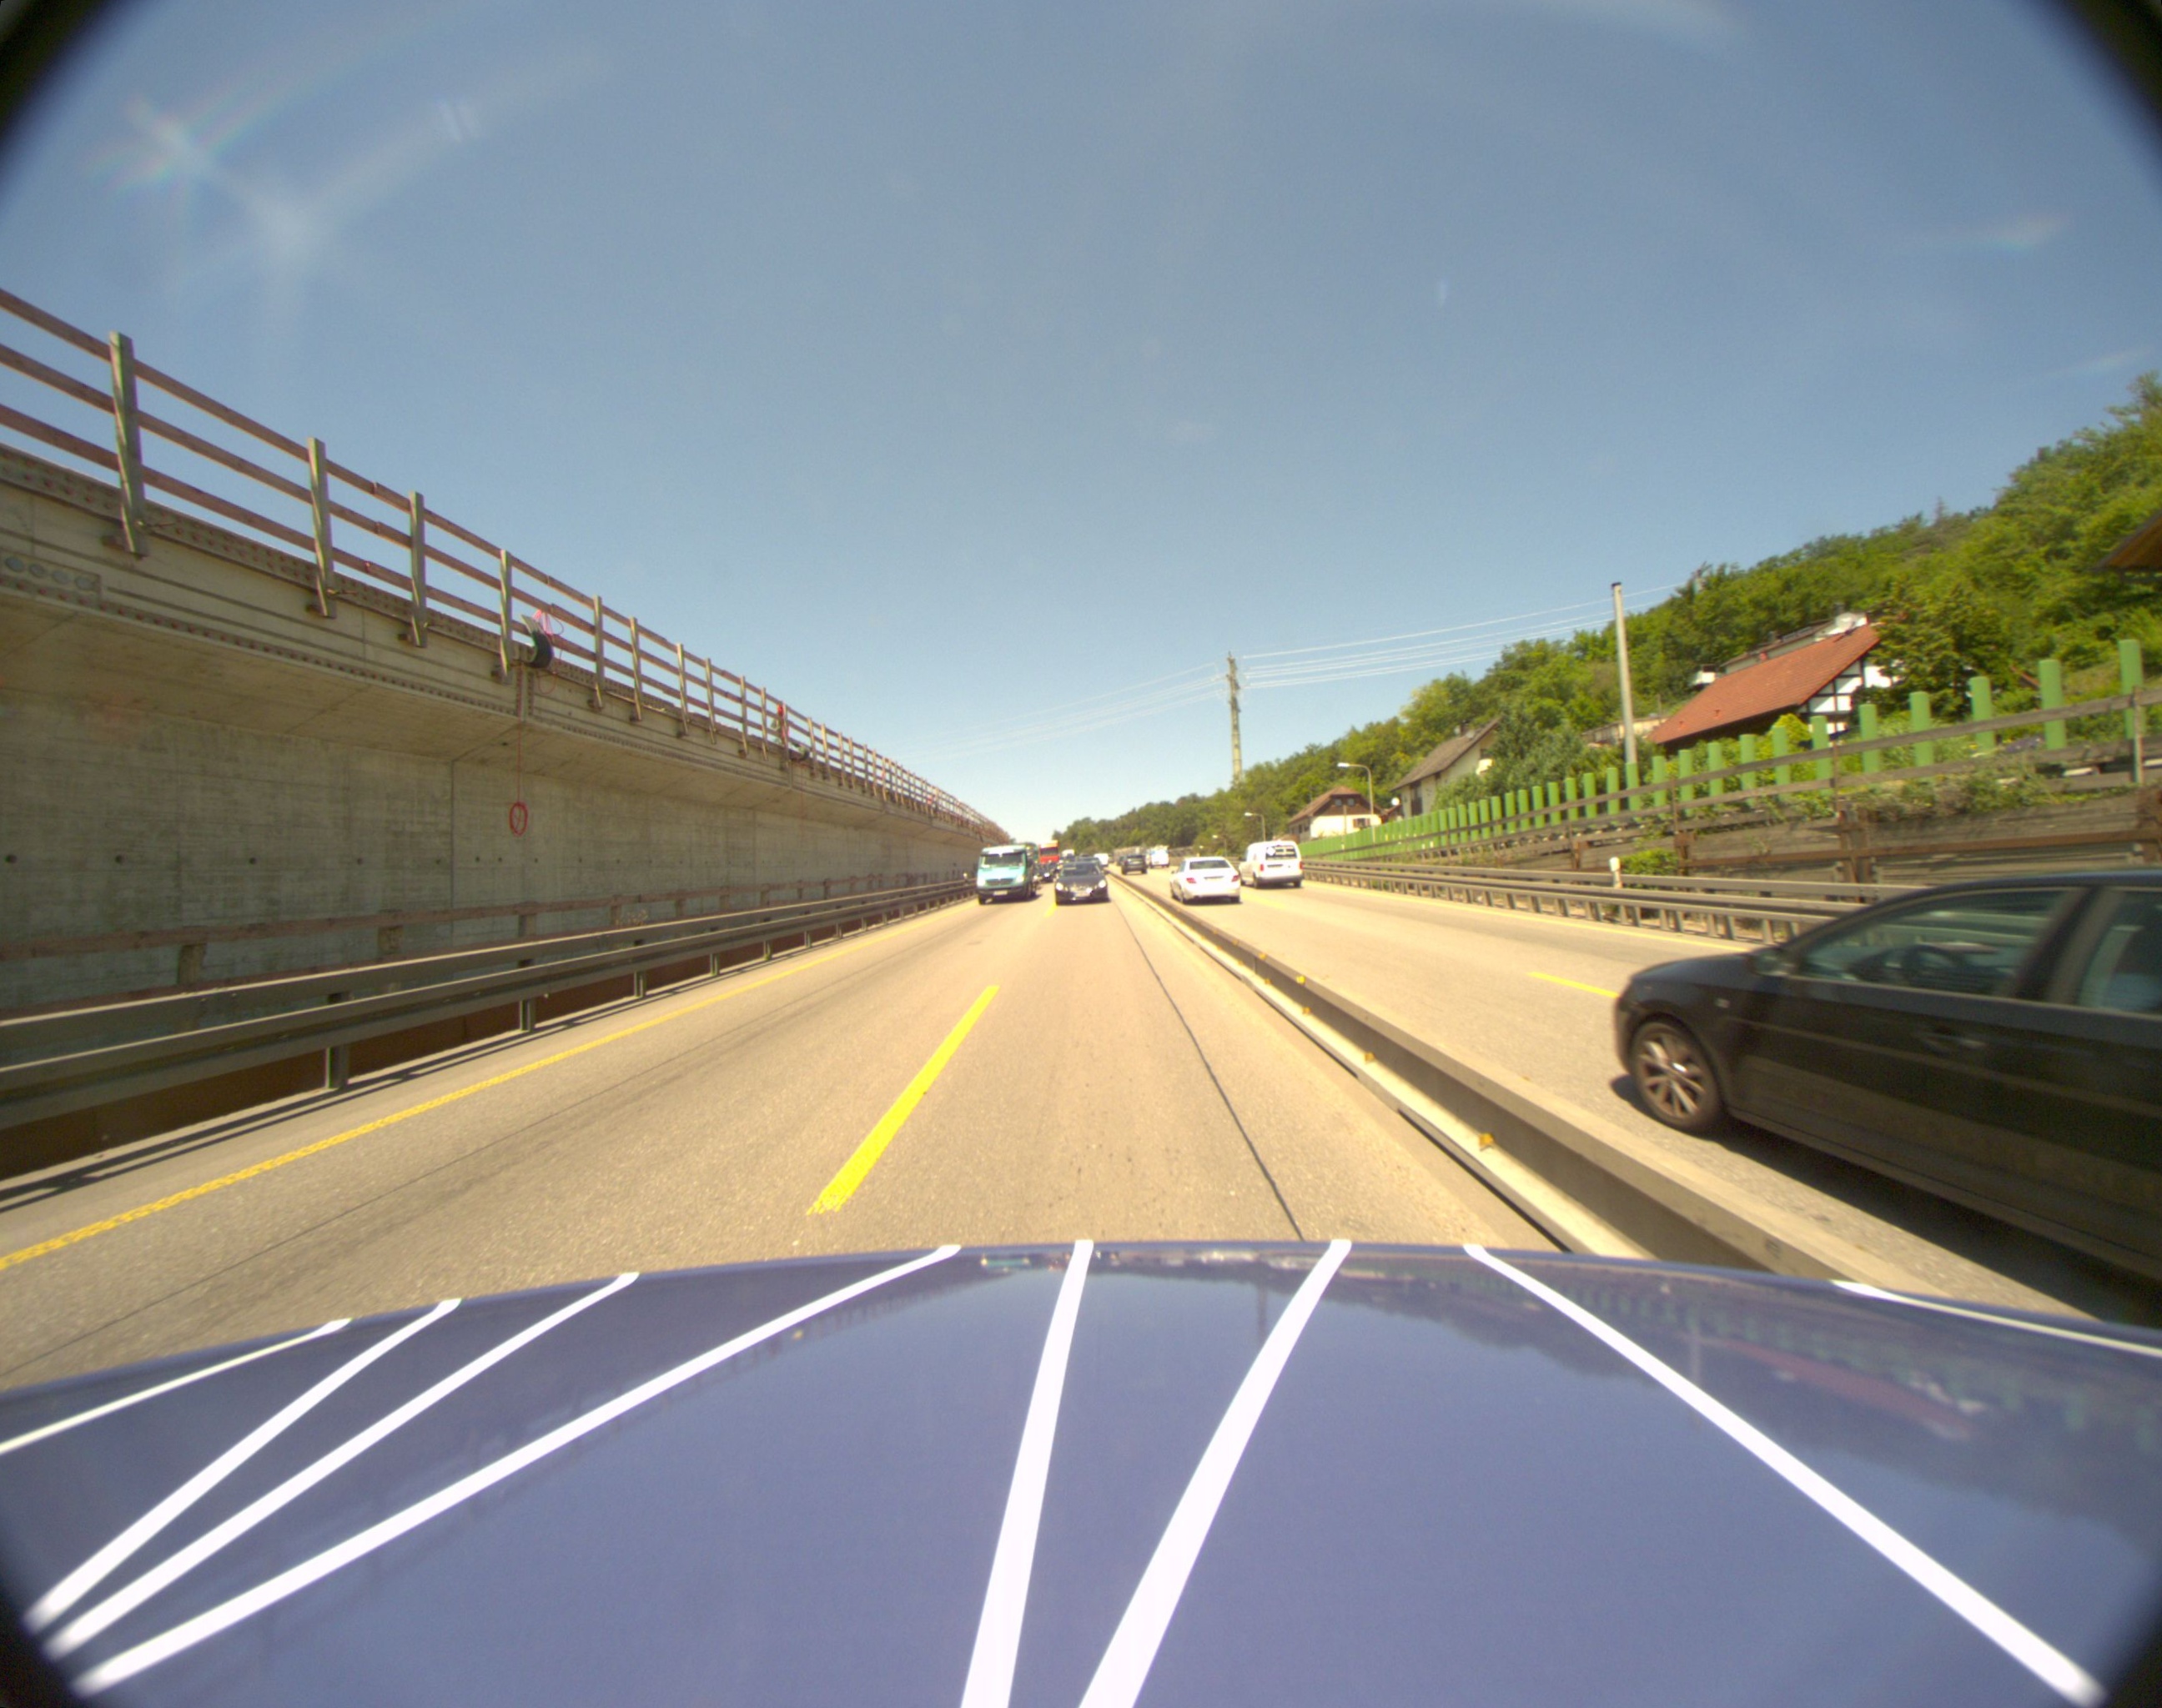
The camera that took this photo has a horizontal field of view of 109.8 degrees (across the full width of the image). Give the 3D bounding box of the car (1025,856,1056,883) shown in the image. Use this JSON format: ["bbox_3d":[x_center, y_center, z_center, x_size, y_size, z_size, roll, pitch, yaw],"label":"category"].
[{"bbox_3d":[-2.818,1.075,53.812,1.859,1.650,3.999,-5,1,0],"label":"car"}]

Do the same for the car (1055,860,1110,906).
[{"bbox_3d":[-0.016,0.990,27.333,1.793,1.440,4.297,-2,0,-2],"label":"car"}]

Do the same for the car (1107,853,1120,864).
[{"bbox_3d":[5.605,0.716,132.869,1.998,1.816,4.508,-2,0,0],"label":"car"}]

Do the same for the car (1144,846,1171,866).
[{"bbox_3d":[7.687,0.213,76.620,1.830,1.914,5.242,-3,0,-3],"label":"car"}]

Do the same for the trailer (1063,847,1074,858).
[{"bbox_3d":[-3.286,-0.434,196.193,2.606,2.573,6.240,-4,1,-1],"label":"trailer"}]

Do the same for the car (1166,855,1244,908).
[{"bbox_3d":[3.851,0.801,24.256,1.737,1.429,4.258,-3,1,0],"label":"car"}]

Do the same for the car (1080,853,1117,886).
[{"bbox_3d":[0.988,0.875,44.830,1.860,1.650,3.999,-5,1,-1],"label":"car"}]

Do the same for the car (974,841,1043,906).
[{"bbox_3d":[-2.962,0.738,32.794,1.968,2.367,7.210,-4,0,1],"label":"car"}]

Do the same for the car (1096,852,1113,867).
[{"bbox_3d":[3.276,0.789,107.099,2.163,1.895,5.325,-3,1,1],"label":"car"}]

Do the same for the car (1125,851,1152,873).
[{"bbox_3d":[4.446,0.595,59.517,1.779,1.624,4.100,-3,0,1],"label":"car"}]

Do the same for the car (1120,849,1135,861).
[{"bbox_3d":[6.543,0.138,107.057,1.753,1.434,4.052,-4,1,1],"label":"car"}]

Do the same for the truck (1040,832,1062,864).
[{"bbox_3d":[-4.067,-0.800,105.121,2.651,3.978,11.194,-5,1,-1],"label":"truck"}]

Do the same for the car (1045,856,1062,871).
[{"bbox_3d":[-3.139,1.061,87.516,1.674,1.499,3.648,-5,1,1],"label":"car"}]

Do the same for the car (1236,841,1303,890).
[{"bbox_3d":[7.567,0.410,30.931,1.600,1.823,4.752,-2,1,1],"label":"car"}]

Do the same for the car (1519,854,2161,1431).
[{"bbox_3d":[3.763,0.810,2.802,1.610,1.438,4.670,-5,1,2],"label":"car"}]
